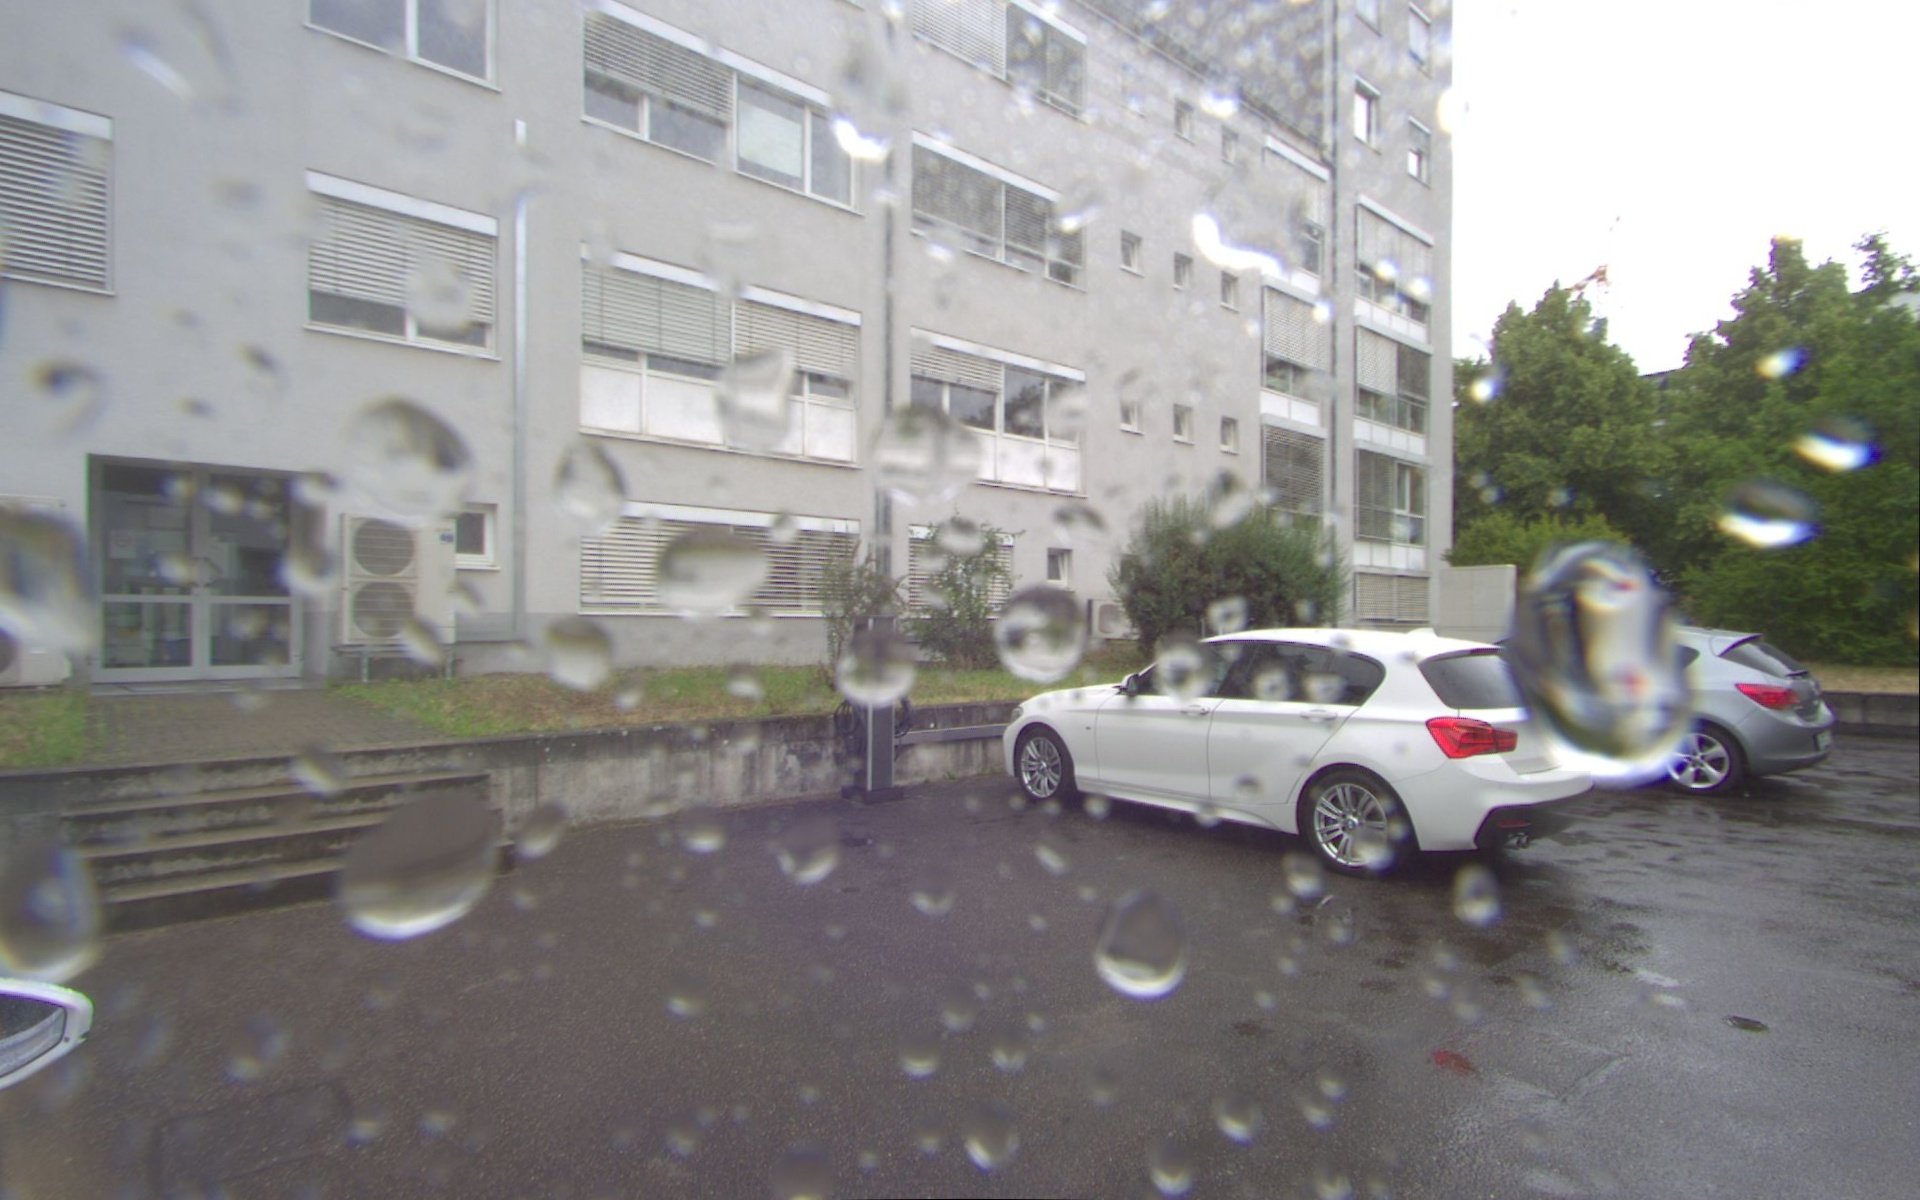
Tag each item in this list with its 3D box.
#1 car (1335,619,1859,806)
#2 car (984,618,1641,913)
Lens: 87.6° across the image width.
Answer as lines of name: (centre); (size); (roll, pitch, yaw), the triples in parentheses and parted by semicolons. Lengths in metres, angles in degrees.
car: (6.330, 0.976, 10.369); (1.977, 1.508, 4.188); (2, -2, -38)
car: (2.274, 0.910, 7.397); (1.977, 1.508, 4.188); (2, -2, -38)
